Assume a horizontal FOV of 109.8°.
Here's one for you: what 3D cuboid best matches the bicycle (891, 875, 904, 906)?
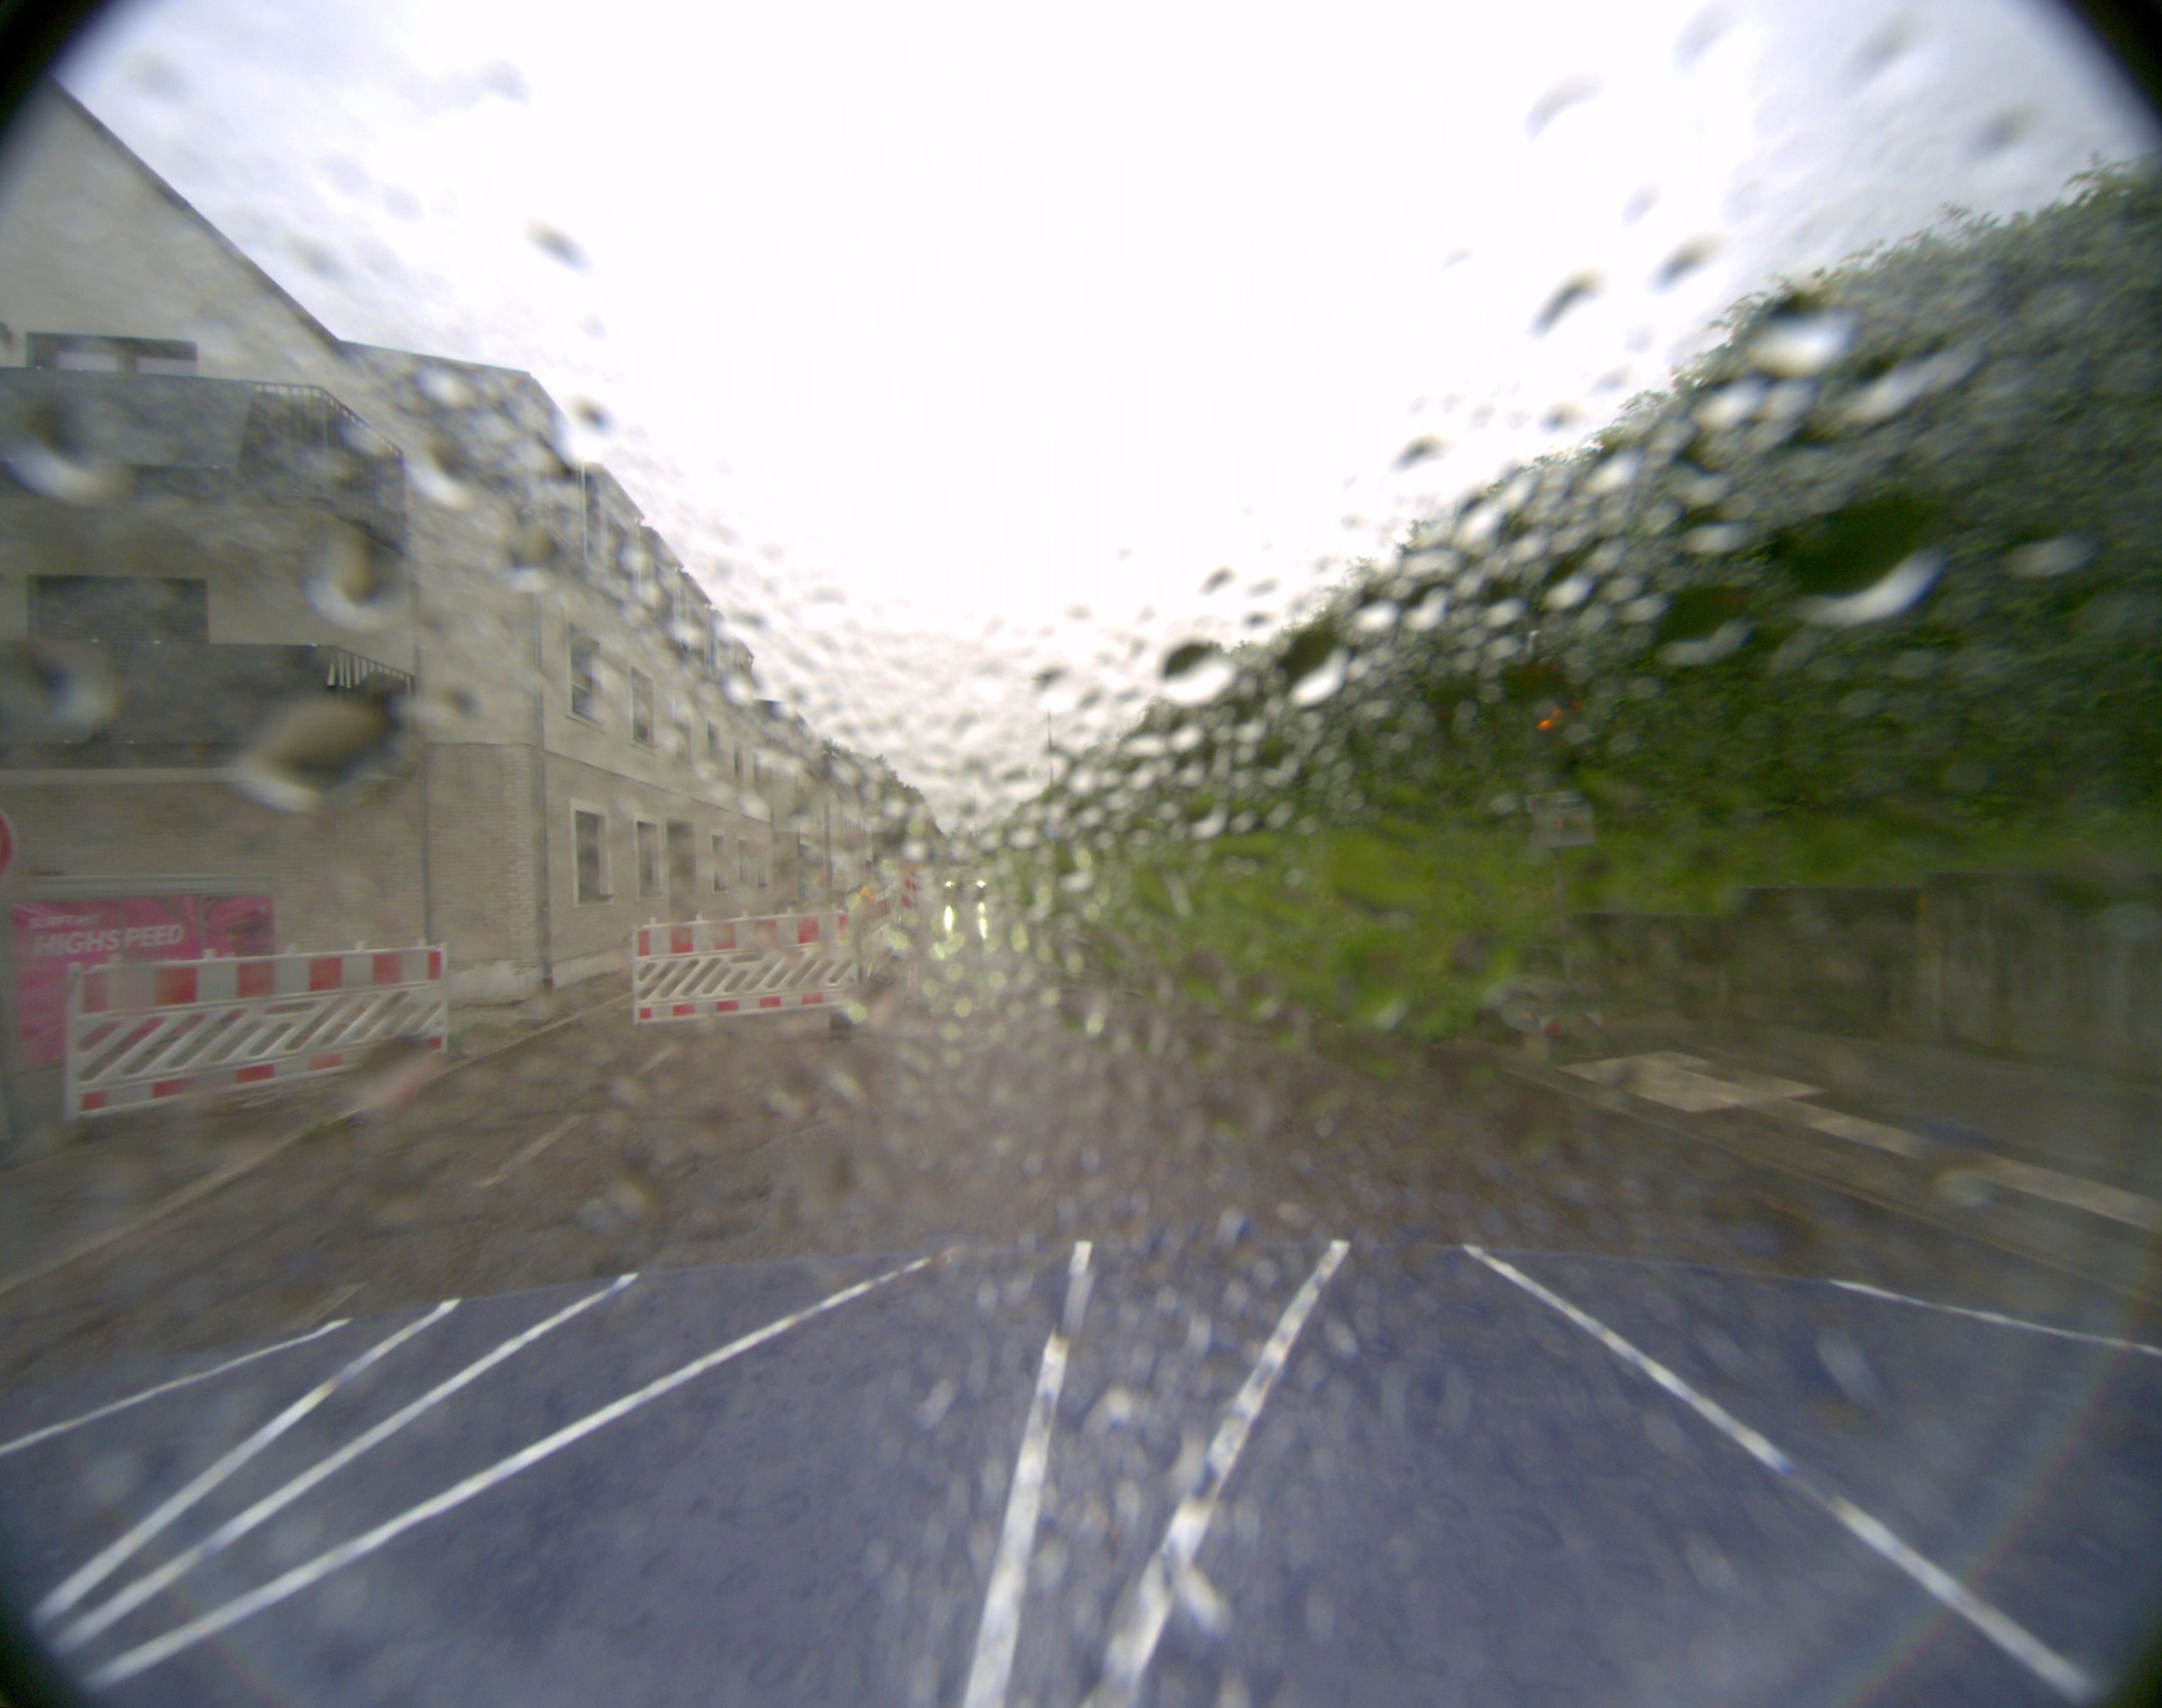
[{"bbox_3d":[-7.198,1.434,29.838,0.407,1.137,1.220,-1,1,-9],"label":"bicycle"}]

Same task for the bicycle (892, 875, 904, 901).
[{"bbox_3d":[-7.701,1.433,32.015,0.407,1.023,1.220,-1,0,-9],"label":"bicycle"}]

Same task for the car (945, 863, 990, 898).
[{"bbox_3d":[-5.310,1.172,35.124,1.853,1.444,4.527,-1,0,-11],"label":"car"}]
